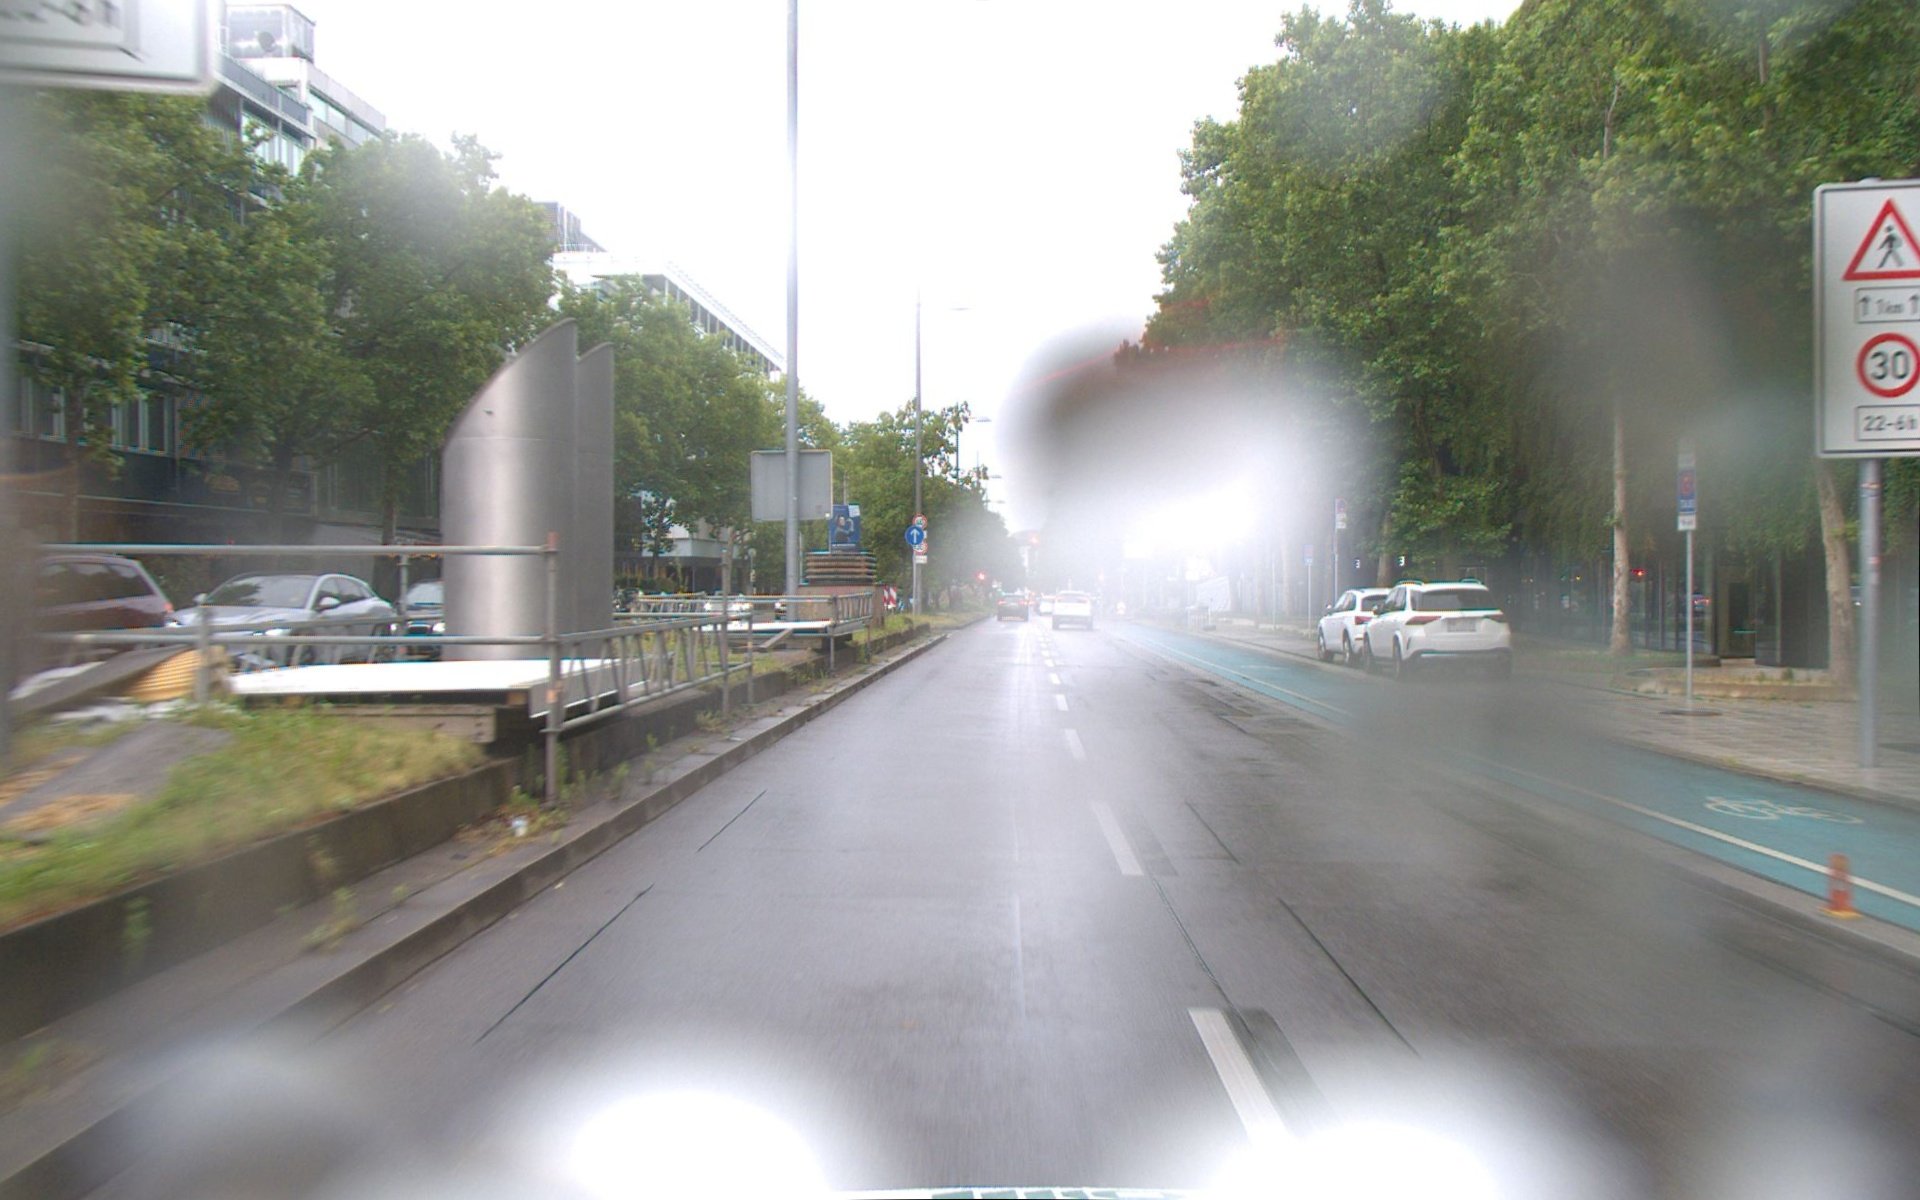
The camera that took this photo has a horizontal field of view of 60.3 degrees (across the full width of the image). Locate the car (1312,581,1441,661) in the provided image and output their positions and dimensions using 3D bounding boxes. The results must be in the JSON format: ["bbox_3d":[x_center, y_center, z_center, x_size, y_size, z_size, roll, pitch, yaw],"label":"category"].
[{"bbox_3d":[9.227,0.423,37.033,1.805,1.661,4.787,1,0,2],"label":"car"}]

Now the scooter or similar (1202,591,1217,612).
[{"bbox_3d":[14.928,0.077,98.917,0.374,1.249,1.074,1,0,38],"label":"scooter or similar"}]

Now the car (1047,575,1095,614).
[{"bbox_3d":[4.928,-0.272,73.801,1.952,1.684,4.890,0,1,2],"label":"car"}]

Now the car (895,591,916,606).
[{"bbox_3d":[-5.418,-0.170,164.145,1.805,1.454,3.644,1,1,2],"label":"car"}]

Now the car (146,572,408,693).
[{"bbox_3d":[-9.938,0.394,24.522,1.698,1.601,4.833,1,1,2],"label":"car"}]

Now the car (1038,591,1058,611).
[{"bbox_3d":[7.387,0.064,138.321,1.587,1.695,4.001,0,0,2],"label":"car"}]

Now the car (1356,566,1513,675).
[{"bbox_3d":[8.816,0.321,31.177,1.804,1.870,5.097,-1,1,4],"label":"car"}]

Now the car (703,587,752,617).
[{"bbox_3d":[-12.128,0.090,86.667,1.927,1.433,4.956,1,1,-1],"label":"car"}]

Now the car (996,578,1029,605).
[{"bbox_3d":[3.102,-0.494,96.906,1.878,1.517,4.001,0,1,2],"label":"car"}]

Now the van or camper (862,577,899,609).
[{"bbox_3d":[-5.089,-0.469,106.597,1.952,1.947,5.253,1,1,2],"label":"van or camper"}]

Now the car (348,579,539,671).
[{"bbox_3d":[-9.654,0.413,31.337,1.873,1.579,4.544,1,1,5],"label":"car"}]

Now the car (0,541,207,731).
[{"bbox_3d":[-9.859,0.318,16.681,1.797,1.797,5.112,1,1,5],"label":"car"}]
